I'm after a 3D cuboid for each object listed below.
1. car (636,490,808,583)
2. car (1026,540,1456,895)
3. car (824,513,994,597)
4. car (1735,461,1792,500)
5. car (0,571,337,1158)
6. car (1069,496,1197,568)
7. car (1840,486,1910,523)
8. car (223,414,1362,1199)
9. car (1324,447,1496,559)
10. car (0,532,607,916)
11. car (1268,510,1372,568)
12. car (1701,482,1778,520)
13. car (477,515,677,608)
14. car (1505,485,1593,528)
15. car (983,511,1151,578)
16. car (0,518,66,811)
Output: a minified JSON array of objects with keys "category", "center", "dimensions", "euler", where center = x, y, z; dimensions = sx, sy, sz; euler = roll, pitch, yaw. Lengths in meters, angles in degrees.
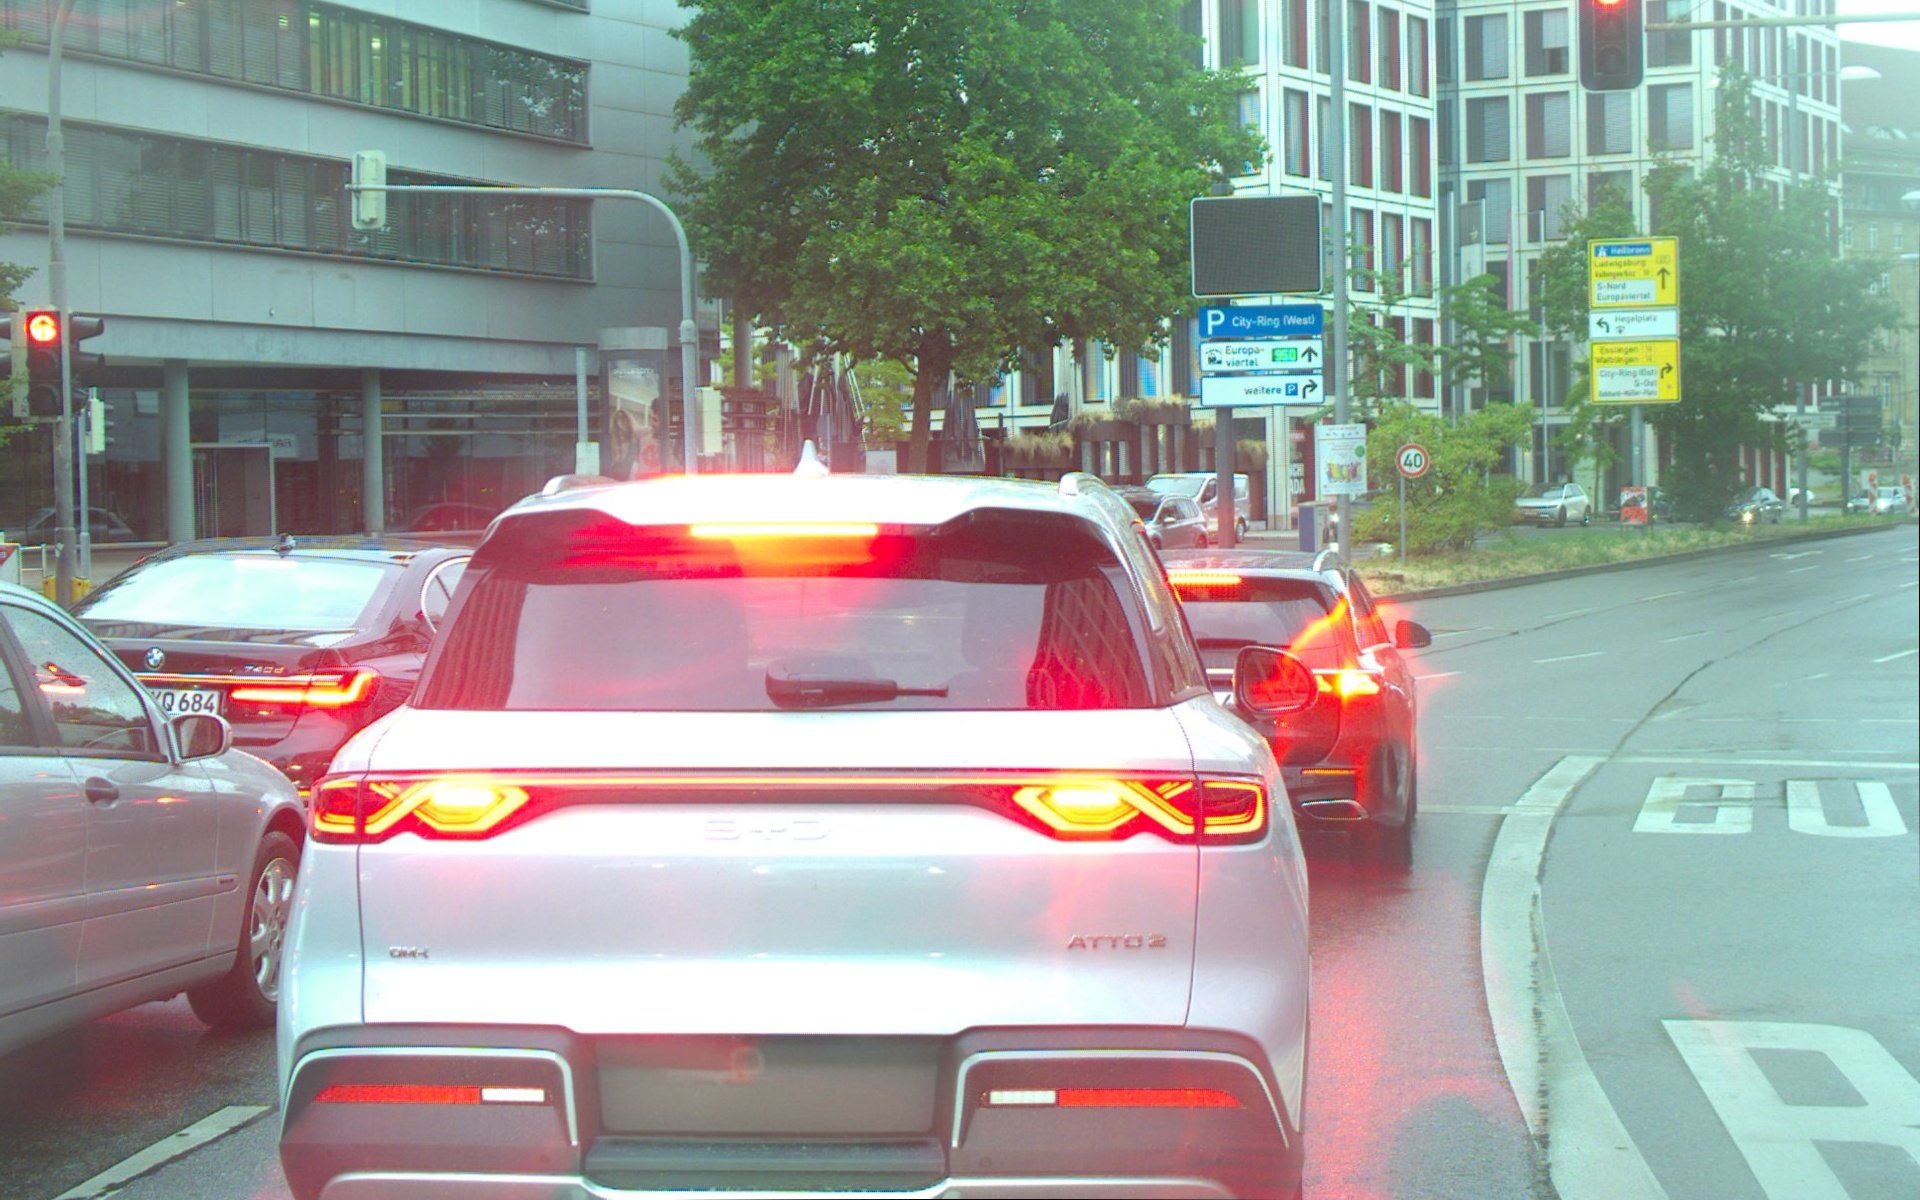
[{"category":"car","center":[-4.058,-1.107,59.355],"dimensions":[1.645,1.530,4.149],"euler":[1,1,16]},{"category":"car","center":[1.472,0.478,16.633],"dimensions":[1.694,1.481,3.998],"euler":[1,1,10]},{"category":"car","center":[-0.841,-0.765,59.237],"dimensions":[1.692,1.380,3.865],"euler":[1,1,19]},{"category":"car","center":[38.234,-5.674,163.467],"dimensions":[1.609,1.735,3.439],"euler":[1,1,32]},{"category":"car","center":[-3.015,0.629,8.919],"dimensions":[1.571,1.402,4.108],"euler":[1,1,7]},{"category":"car","center":[3.917,-1.527,77.273],"dimensions":[1.645,1.575,4.081],"euler":[1,1,21]},{"category":"car","center":[38.155,-3.980,143.297],"dimensions":[1.996,1.483,3.994],"euler":[0,2,27]},{"category":"car","center":[-0.217,0.535,7.393],"dimensions":[1.776,1.673,4.000],"euler":[1,1,2]},{"category":"car","center":[8.568,-1.811,65.120],"dimensions":[1.996,2.007,4.843],"euler":[1,1,23]},{"category":"car","center":[-2.800,0.466,15.480],"dimensions":[1.571,1.481,3.999],"euler":[1,1,7]},{"category":"car","center":[10.198,-1.751,97.240],"dimensions":[1.633,1.553,4.588],"euler":[0,2,23]},{"category":"car","center":[30.711,-3.909,135.412],"dimensions":[1.996,1.483,3.994],"euler":[0,2,27]},{"category":"car","center":[-6.843,-0.721,61.764],"dimensions":[1.995,1.605,3.996],"euler":[1,1,20]},{"category":"car","center":[21.029,-3.356,122.687],"dimensions":[1.996,1.483,3.994],"euler":[0,2,27]},{"category":"car","center":[2.607,-1.349,82.043],"dimensions":[1.816,1.505,5.188],"euler":[1,2,29]},{"category":"car","center":[-5.877,0.323,16.271],"dimensions":[1.707,1.481,3.998],"euler":[1,1,9]}]
